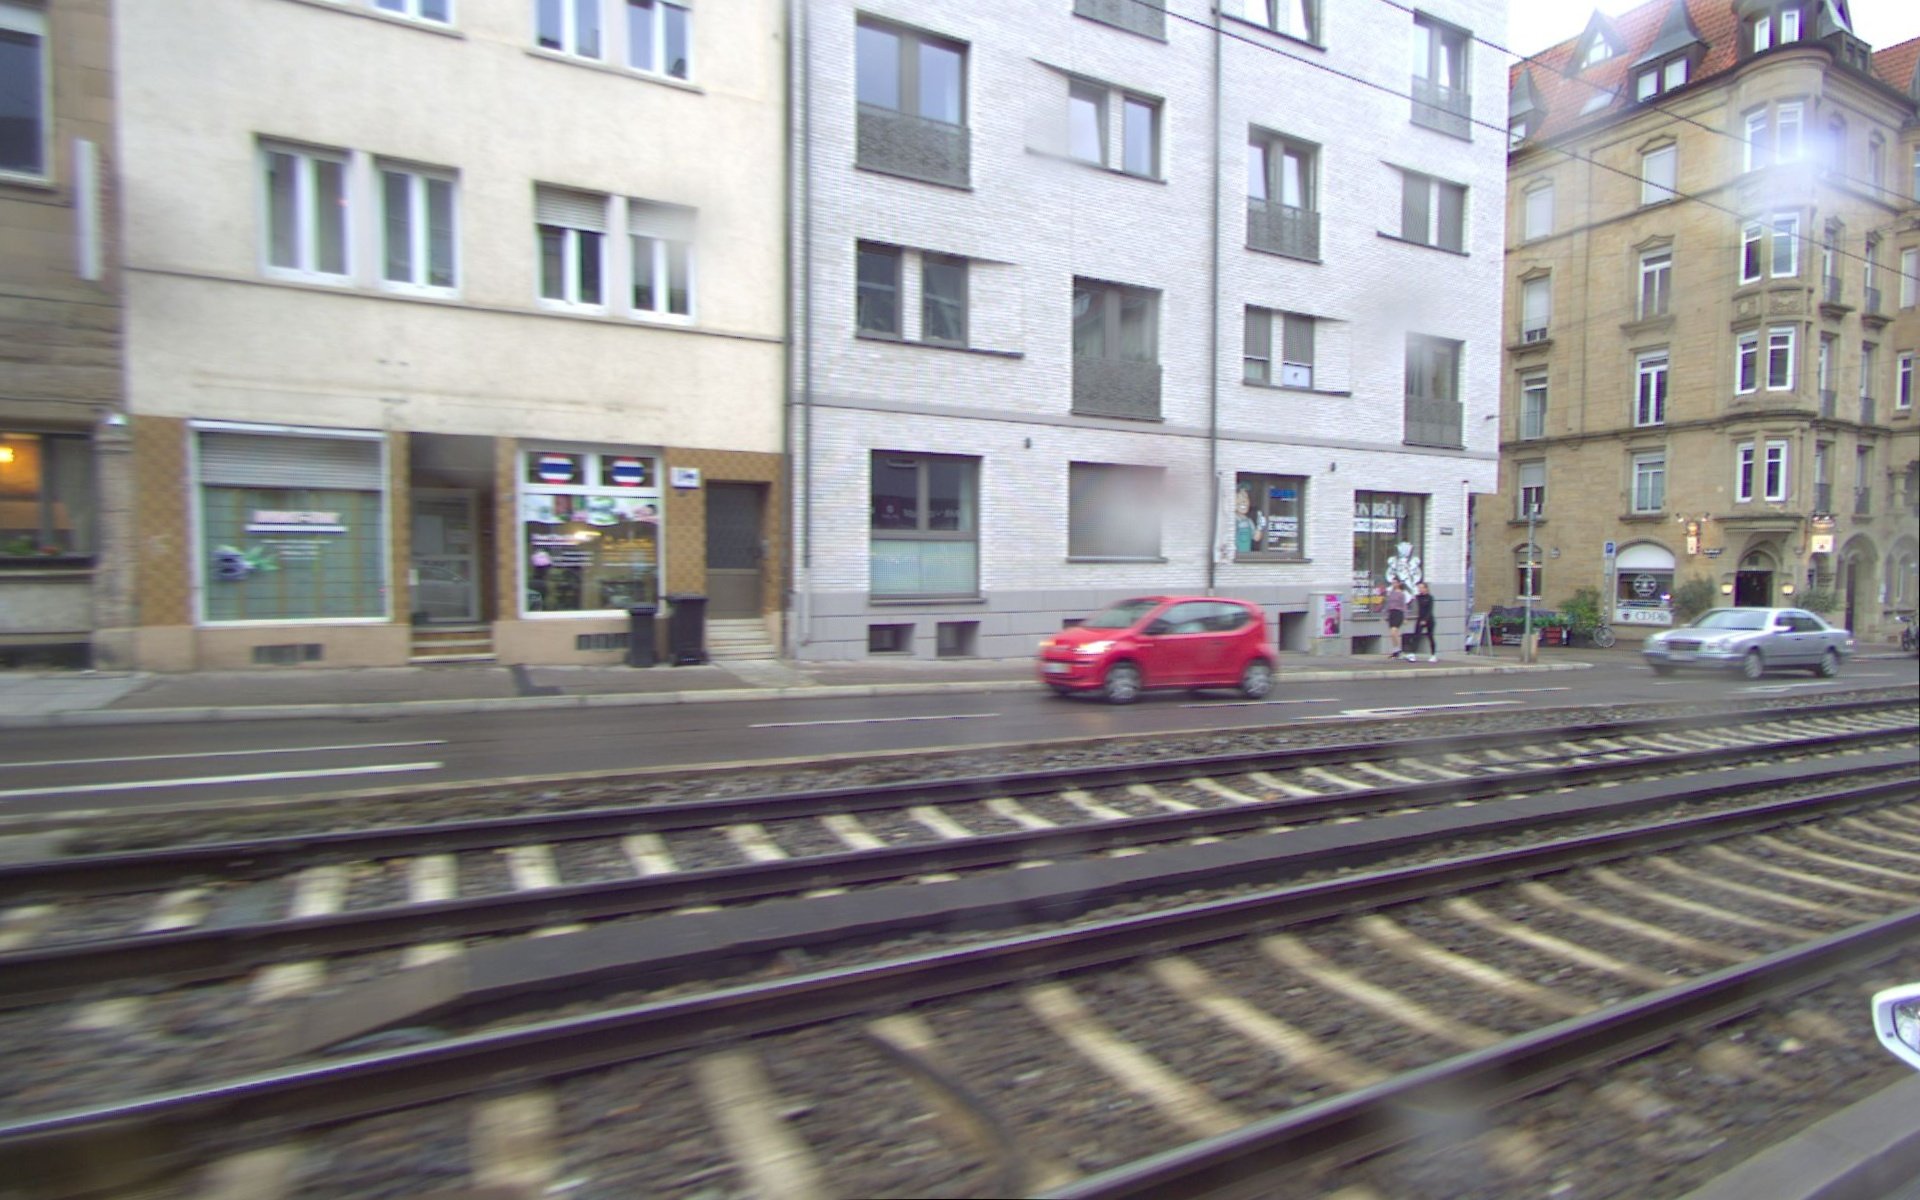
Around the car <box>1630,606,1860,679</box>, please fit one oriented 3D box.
[{"bbox_3d":[16.384,0.837,20.943,4.696,1.379,1.802,1,0,-24],"label":"car"}]

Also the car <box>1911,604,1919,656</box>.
[{"bbox_3d":[30.900,0.928,30.526,3.882,1.561,1.716,1,0,-27],"label":"car"}]

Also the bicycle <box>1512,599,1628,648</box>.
[{"bbox_3d":[21.230,0.780,35.039,1.583,1.605,3.123,1,0,-37],"label":"bicycle"}]

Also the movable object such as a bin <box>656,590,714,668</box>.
[{"bbox_3d":[-4.123,0.418,15.066,0.679,1.088,0.710,0,4,-29],"label":"movable object such as a bin"}]

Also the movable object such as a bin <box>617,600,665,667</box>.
[{"bbox_3d":[-4.696,0.483,14.783,0.553,0.923,0.591,0,4,-28],"label":"movable object such as a bin"}]

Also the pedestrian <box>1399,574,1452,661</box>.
[{"bbox_3d":[9.923,0.382,21.413,0.871,1.810,0.626,2,-1,-29],"label":"pedestrian"}]

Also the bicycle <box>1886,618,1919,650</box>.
[{"bbox_3d":[30.951,1.087,32.781,2.057,1.014,0.595,1,0,-33],"label":"bicycle"}]

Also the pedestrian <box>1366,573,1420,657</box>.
[{"bbox_3d":[9.532,0.333,22.115,0.912,1.810,0.637,2,-1,-29],"label":"pedestrian"}]

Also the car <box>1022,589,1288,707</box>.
[{"bbox_3d":[2.811,0.631,14.464,3.473,1.517,1.674,1,0,-27],"label":"car"}]
